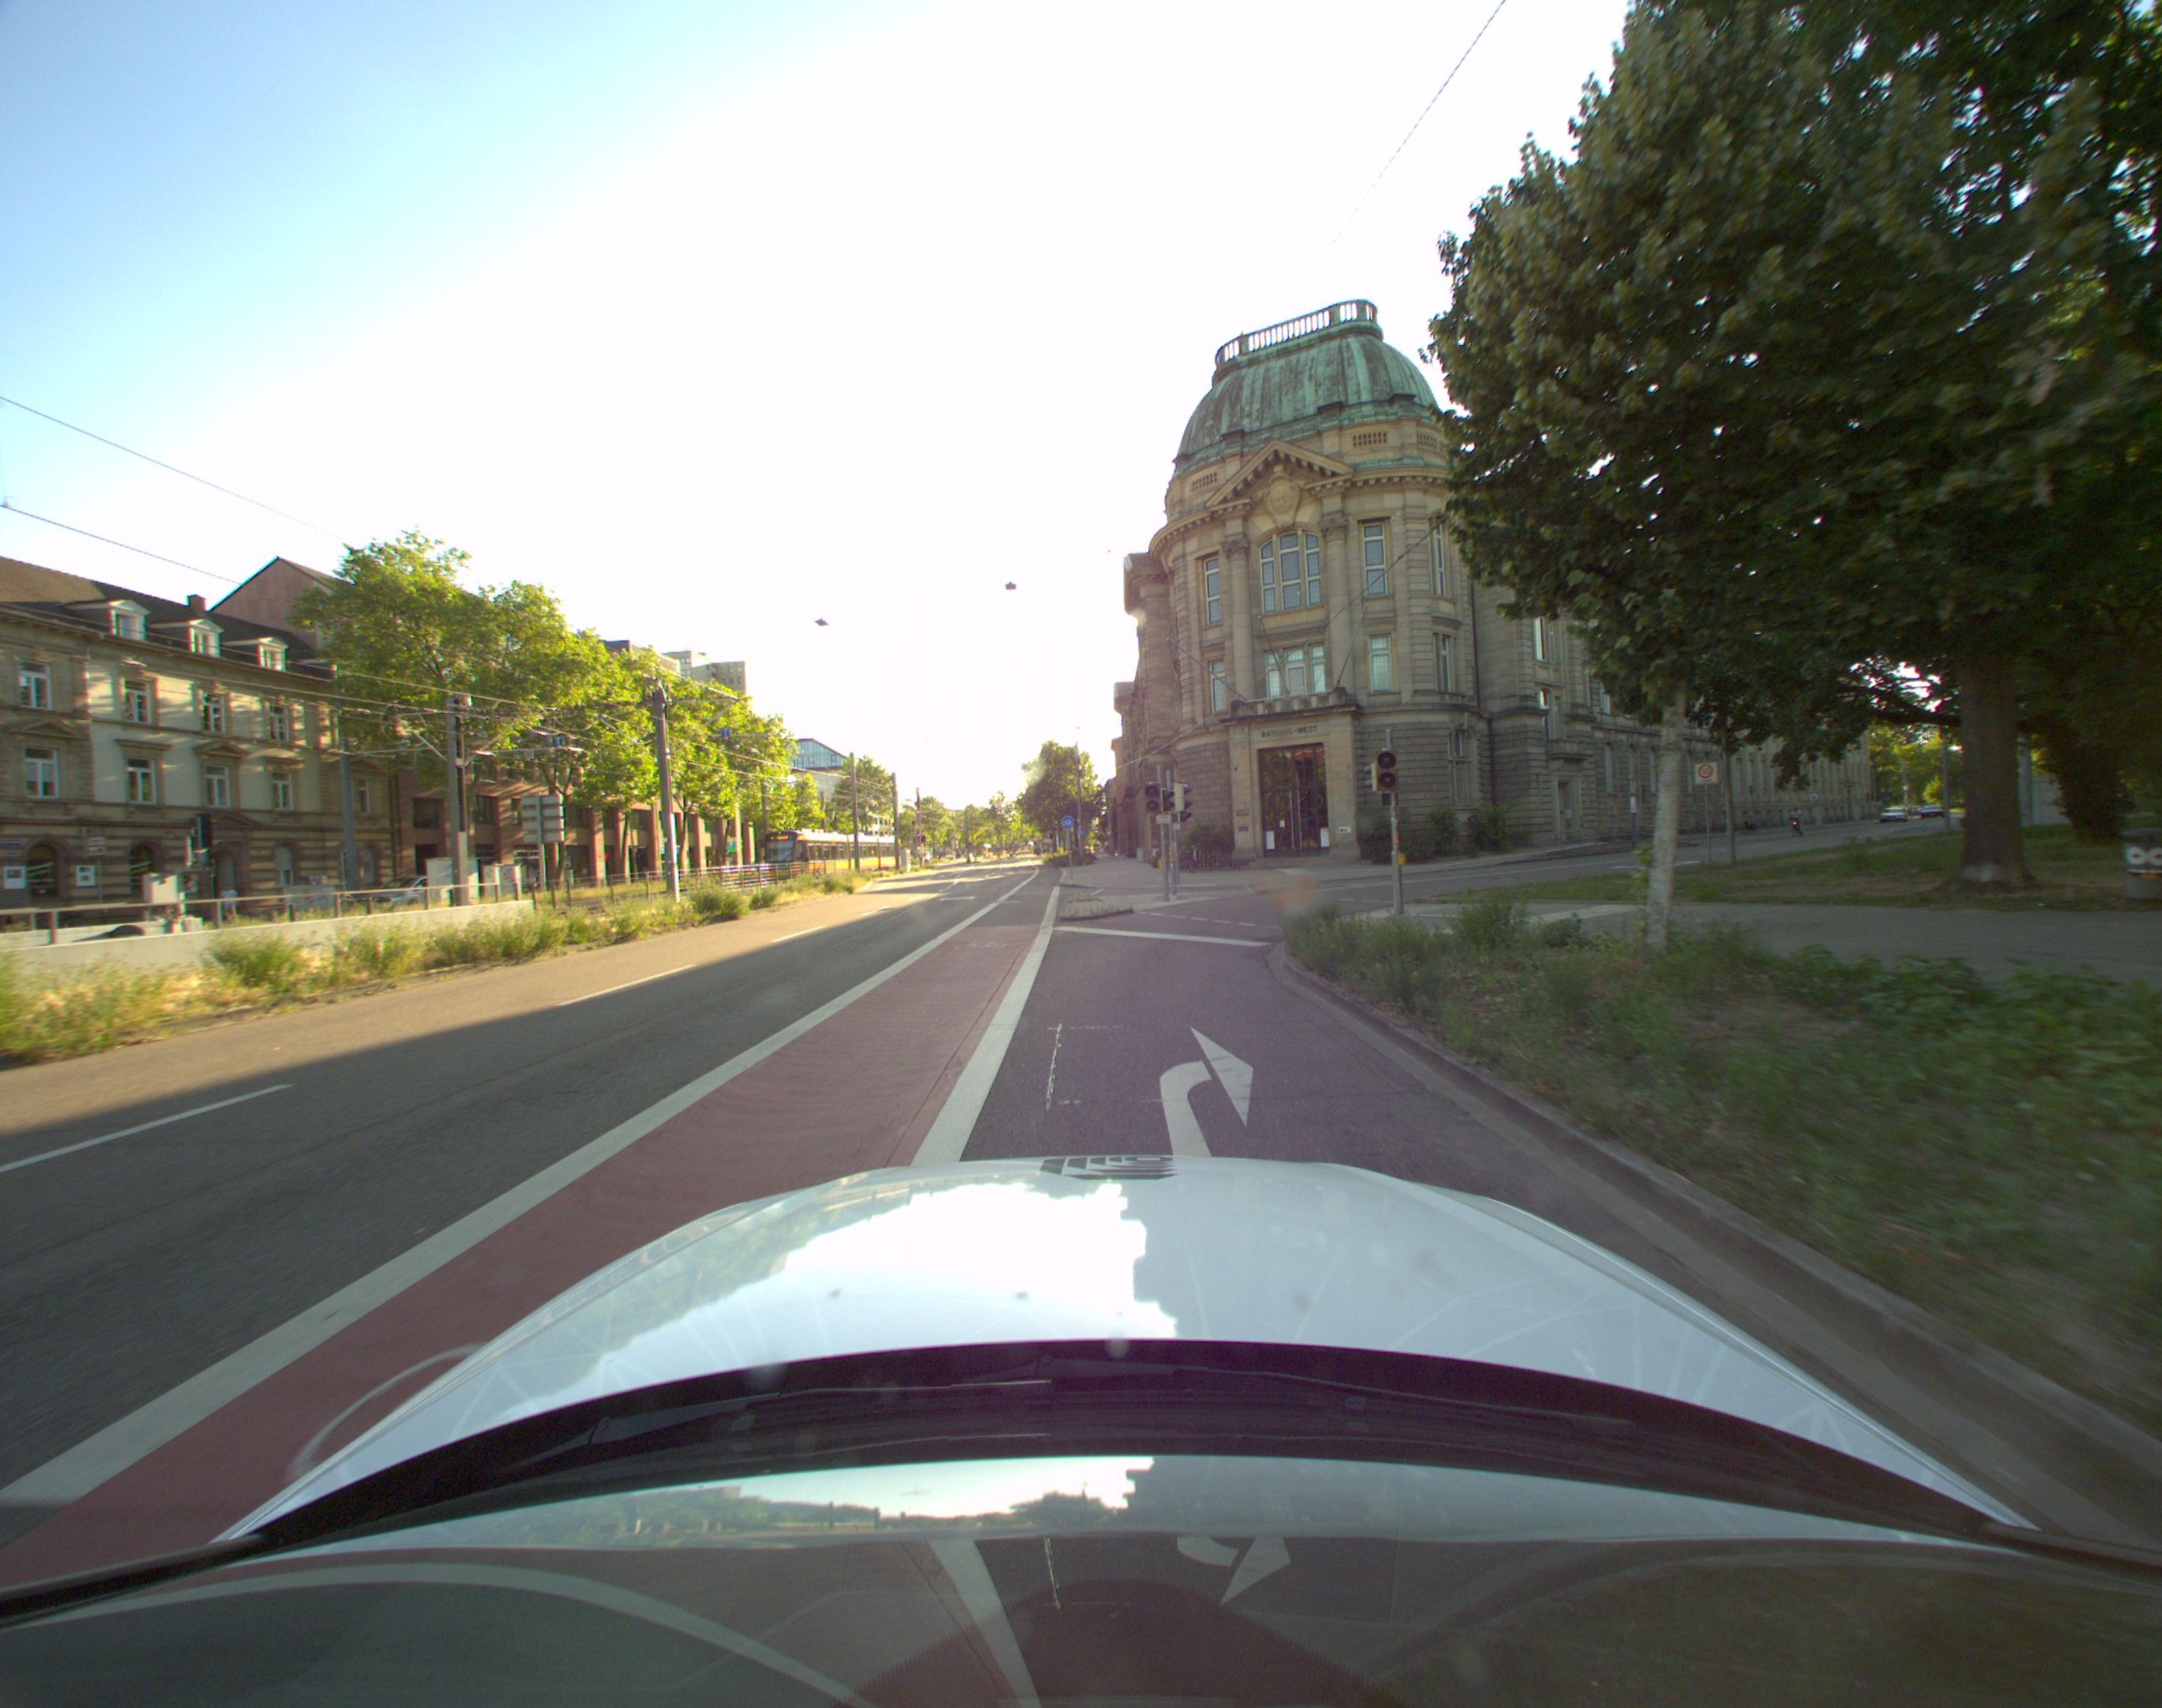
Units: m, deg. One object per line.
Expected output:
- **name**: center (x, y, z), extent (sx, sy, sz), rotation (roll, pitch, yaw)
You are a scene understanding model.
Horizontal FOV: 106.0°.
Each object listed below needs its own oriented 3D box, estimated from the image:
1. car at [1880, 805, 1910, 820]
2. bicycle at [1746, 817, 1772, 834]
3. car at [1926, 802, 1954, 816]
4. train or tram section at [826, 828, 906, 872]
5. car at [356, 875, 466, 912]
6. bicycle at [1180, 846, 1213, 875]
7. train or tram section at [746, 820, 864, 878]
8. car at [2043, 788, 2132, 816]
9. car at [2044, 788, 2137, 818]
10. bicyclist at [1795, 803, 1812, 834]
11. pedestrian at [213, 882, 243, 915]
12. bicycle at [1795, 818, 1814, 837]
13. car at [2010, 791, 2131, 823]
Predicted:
- **car**: center (81.330, -4.130, 81.367), extent (4.396, 1.397, 1.712), rotation (-3, 0, -40)
- **bicycle**: center (45.998, -1.953, 55.253), extent (1.990, 1.101, 0.846), rotation (-3, 2, -33)
- **car**: center (95.701, -5.014, 90.693), extent (4.396, 1.466, 1.862), rotation (-3, 1, -40)
- **train or tram section**: center (-20.619, -0.347, 79.949), extent (3.104, 3.559, 19.915), rotation (-3, 0, -2)
- **car**: center (-35.208, 2.031, 43.010), extent (1.754, 1.585, 4.736), rotation (-3, 0, 1)
- **bicycle**: center (5.248, 0.286, 36.960), extent (0.859, 1.196, 2.252), rotation (-3, 0, 24)
- **train or tram section**: center (-20.101, -0.319, 61.264), extent (3.103, 3.559, 17.468), rotation (-3, 0, -1)
- **car**: center (90.782, -4.663, 73.576), extent (1.812, 2.014, 4.774), rotation (-3, -2, -44)
- **car**: center (75.806, -3.804, 61.201), extent (2.009, 1.860, 4.195), rotation (-2, -2, -36)
- **bicyclist**: center (43.214, -2.117, 48.699), extent (0.639, 1.807, 0.785), rotation (-4, -1, 38)
- **pedestrian**: center (-42.315, 2.178, 40.399), extent (0.702, 1.562, 0.690), rotation (-3, 0, -2)
- **bicycle**: center (43.287, -1.617, 48.753), extent (0.656, 1.070, 2.167), rotation (-3, 0, 38)
- **car**: center (57.881, -2.732, 47.727), extent (1.791, 1.469, 4.404), rotation (-3, -1, -38)
